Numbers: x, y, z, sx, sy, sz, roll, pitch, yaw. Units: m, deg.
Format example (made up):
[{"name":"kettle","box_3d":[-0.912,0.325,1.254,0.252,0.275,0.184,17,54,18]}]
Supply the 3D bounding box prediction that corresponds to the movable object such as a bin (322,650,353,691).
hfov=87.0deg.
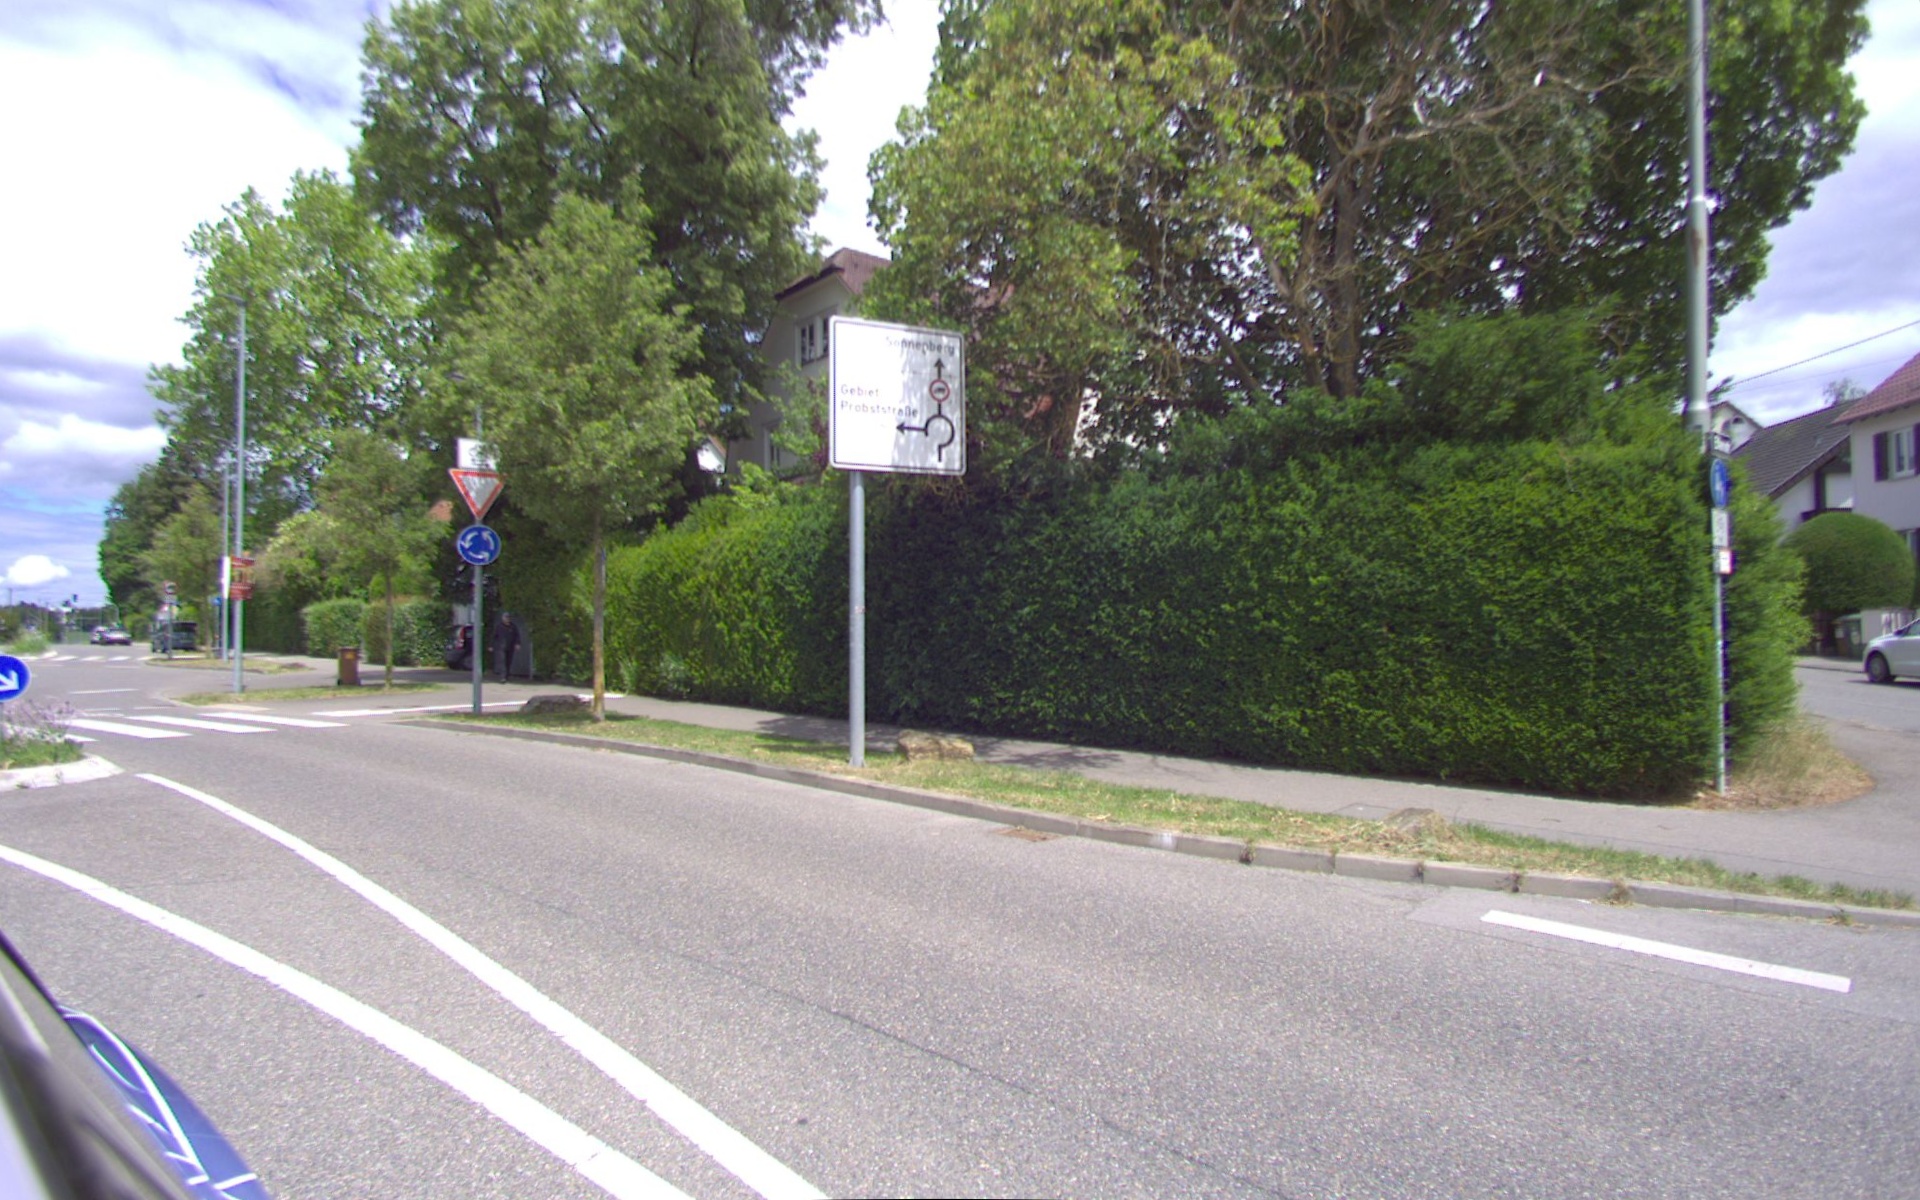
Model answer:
[{"name":"movable object such as a bin","box_3d":[-14.613,1.642,23.760,0.409,0.942,0.438,0,-3,19]}]

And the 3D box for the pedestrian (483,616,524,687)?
[{"name":"pedestrian","box_3d":[-11.252,1.252,24.945,0.734,1.704,0.695,1,-1,-41]}]

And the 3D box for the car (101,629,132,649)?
[{"name":"car","box_3d":[-69.384,3.173,83.210,1.835,1.589,4.005,1,-1,-42]}]

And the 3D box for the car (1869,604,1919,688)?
[{"name":"car","box_3d":[17.661,0.805,17.161,1.697,1.466,3.523,0,0,10]}]

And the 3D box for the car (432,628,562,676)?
[{"name":"car","box_3d":[-15.272,1.735,33.470,3.524,1.408,1.667,5,-4,-42]}]

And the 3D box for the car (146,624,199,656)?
[{"name":"car","box_3d":[-42.585,2.150,54.711,4.001,1.674,1.657,-1,-2,44]}]

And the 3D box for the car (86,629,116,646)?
[{"name":"car","box_3d":[-90.261,3.930,106.323,4.000,1.719,1.972,-1,-3,43]}]
